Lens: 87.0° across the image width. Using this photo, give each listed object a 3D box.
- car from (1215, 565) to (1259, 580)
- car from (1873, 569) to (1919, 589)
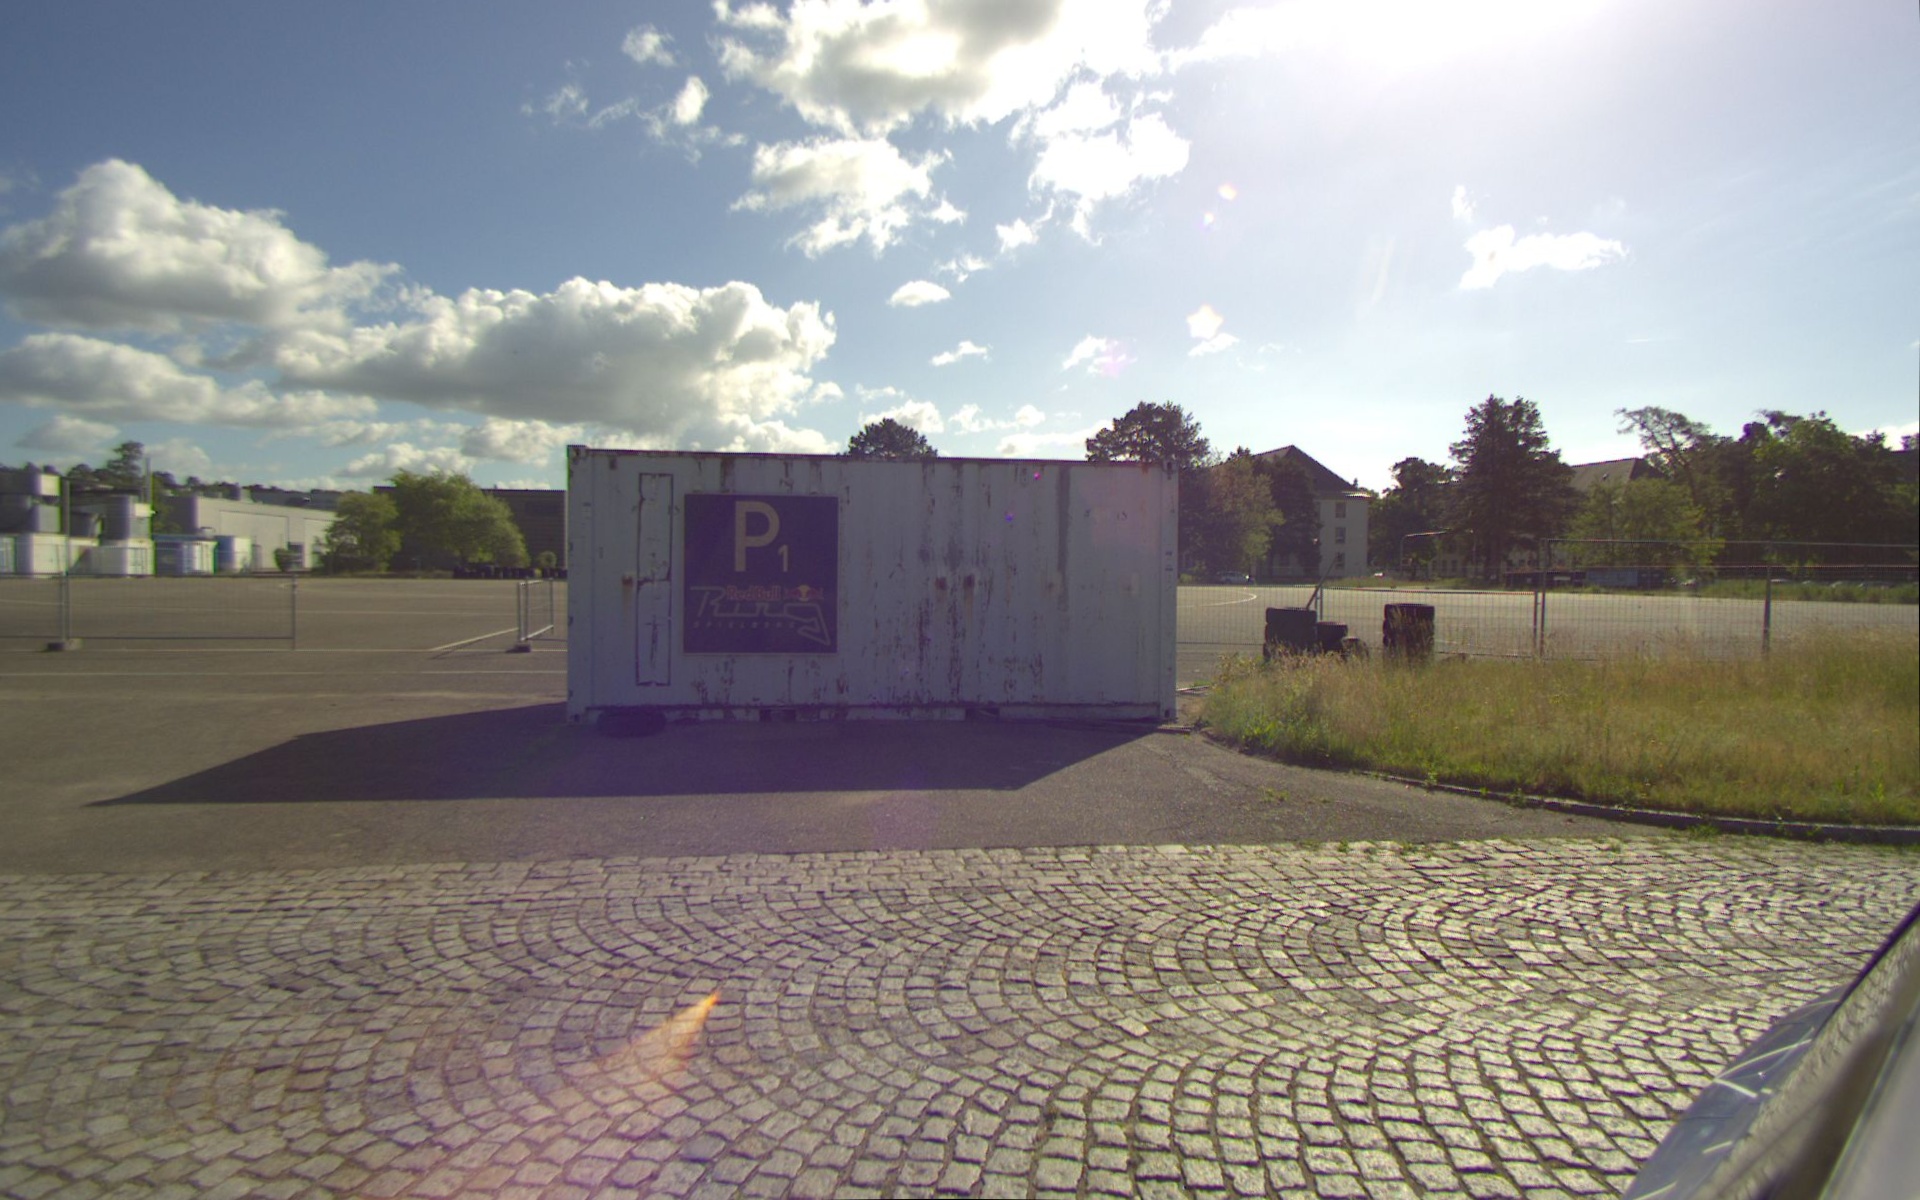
[{"bbox_3d":[28.897,-2.880,105.723,3.916,1.601,2.004,0,2,-12],"label":"car"},{"bbox_3d":[79.637,-1.766,85.351,3.773,1.679,1.746,0,2,-6],"label":"car"}]
